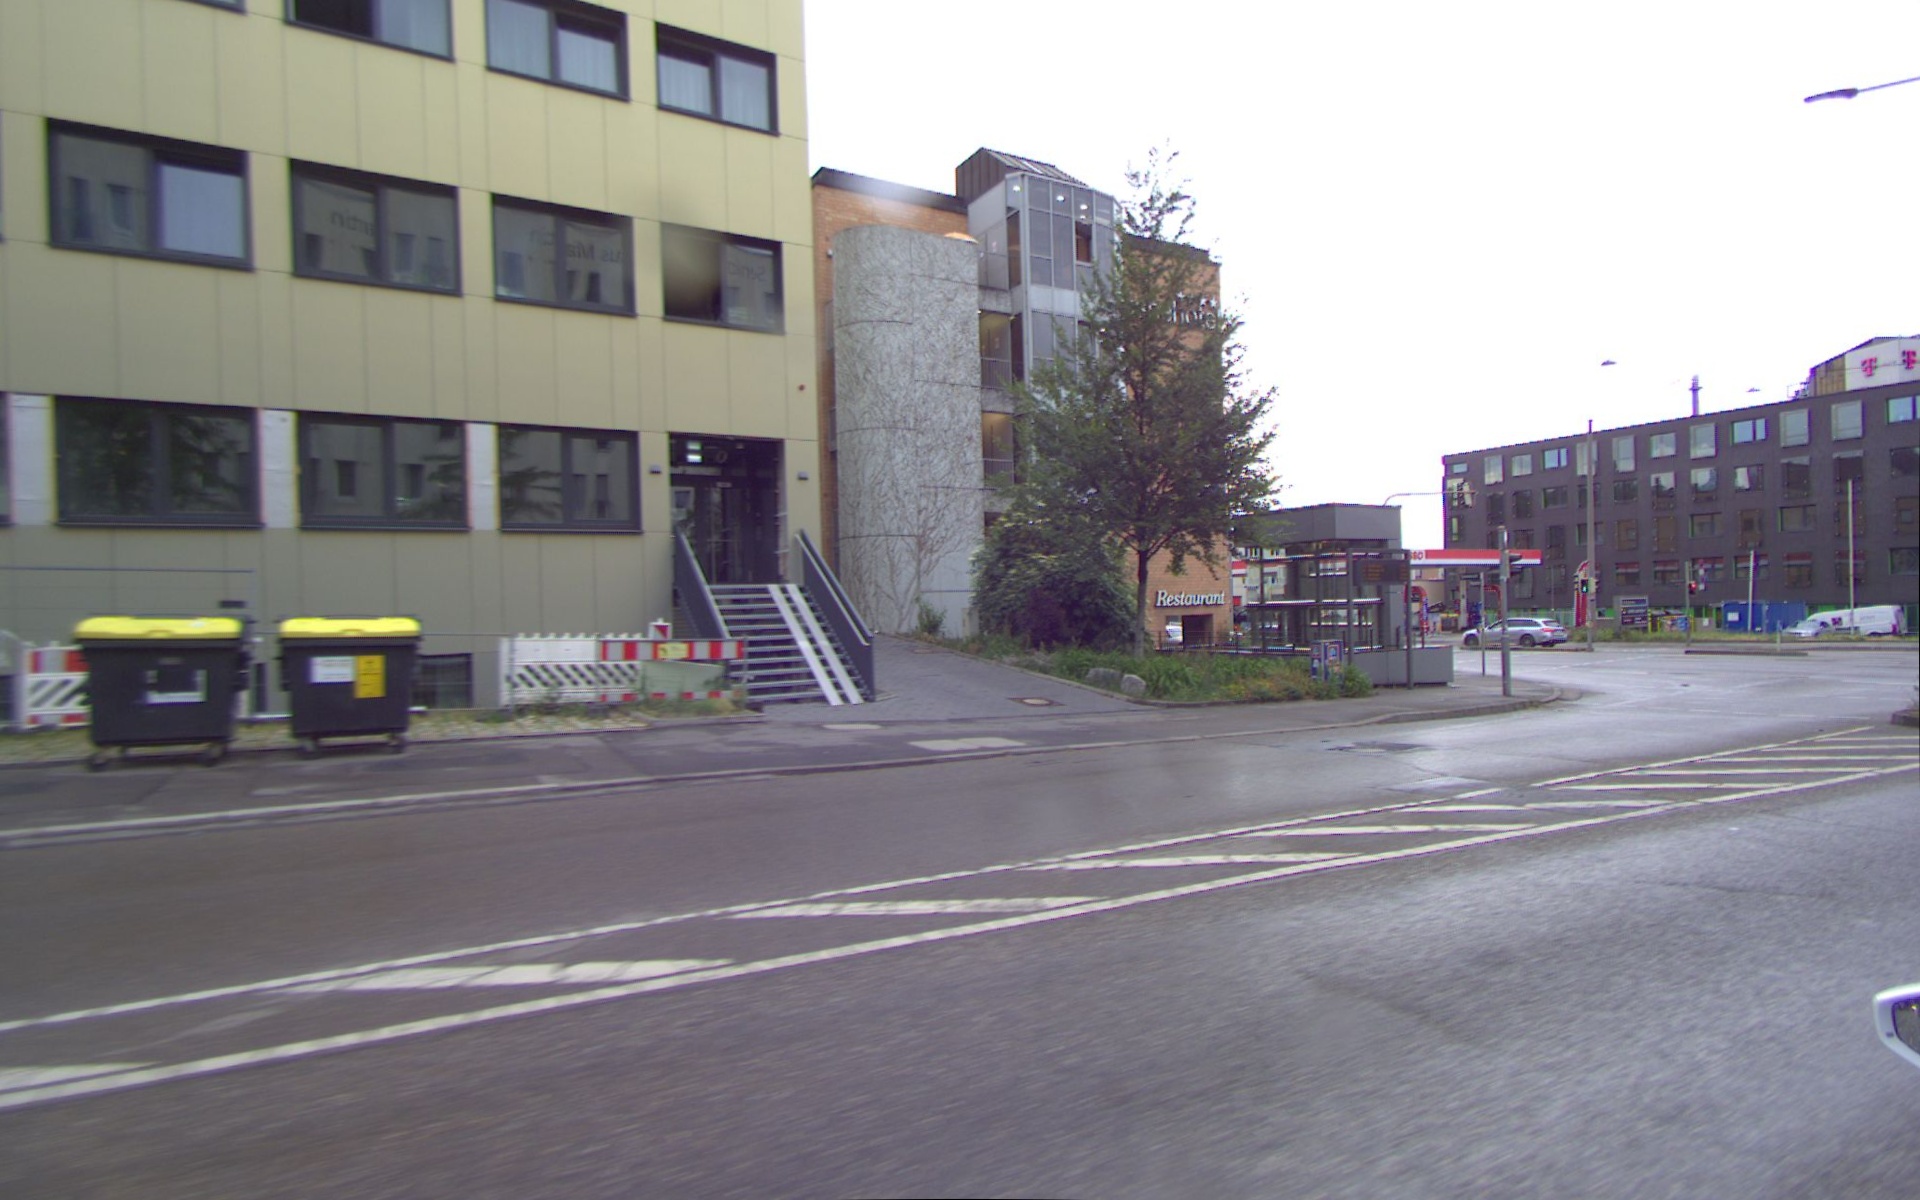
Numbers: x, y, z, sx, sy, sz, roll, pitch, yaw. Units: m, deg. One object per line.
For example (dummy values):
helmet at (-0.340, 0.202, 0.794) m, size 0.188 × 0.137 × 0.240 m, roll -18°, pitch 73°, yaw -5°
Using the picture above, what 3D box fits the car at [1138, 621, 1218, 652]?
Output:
car at (10.729, 1.763, 49.698) m, size 1.676 × 1.419 × 4.059 m, roll -2°, pitch 0°, yaw -28°

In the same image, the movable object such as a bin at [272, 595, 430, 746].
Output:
movable object such as a bin at (-6.415, 0.707, 10.678) m, size 1.341 × 1.465 × 1.050 m, roll 1°, pitch 1°, yaw -28°

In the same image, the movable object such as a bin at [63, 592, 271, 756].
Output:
movable object such as a bin at (-7.740, 0.680, 9.906) m, size 1.412 × 1.465 × 1.050 m, roll 1°, pitch 1°, yaw -28°

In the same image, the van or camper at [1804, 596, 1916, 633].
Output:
van or camper at (63.615, 1.002, 71.085) m, size 2.707 × 2.400 × 5.303 m, roll 1°, pitch 1°, yaw -30°

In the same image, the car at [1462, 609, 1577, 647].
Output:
car at (26.942, 1.318, 48.512) m, size 1.977 × 1.600 × 4.455 m, roll 1°, pitch 1°, yaw -30°
